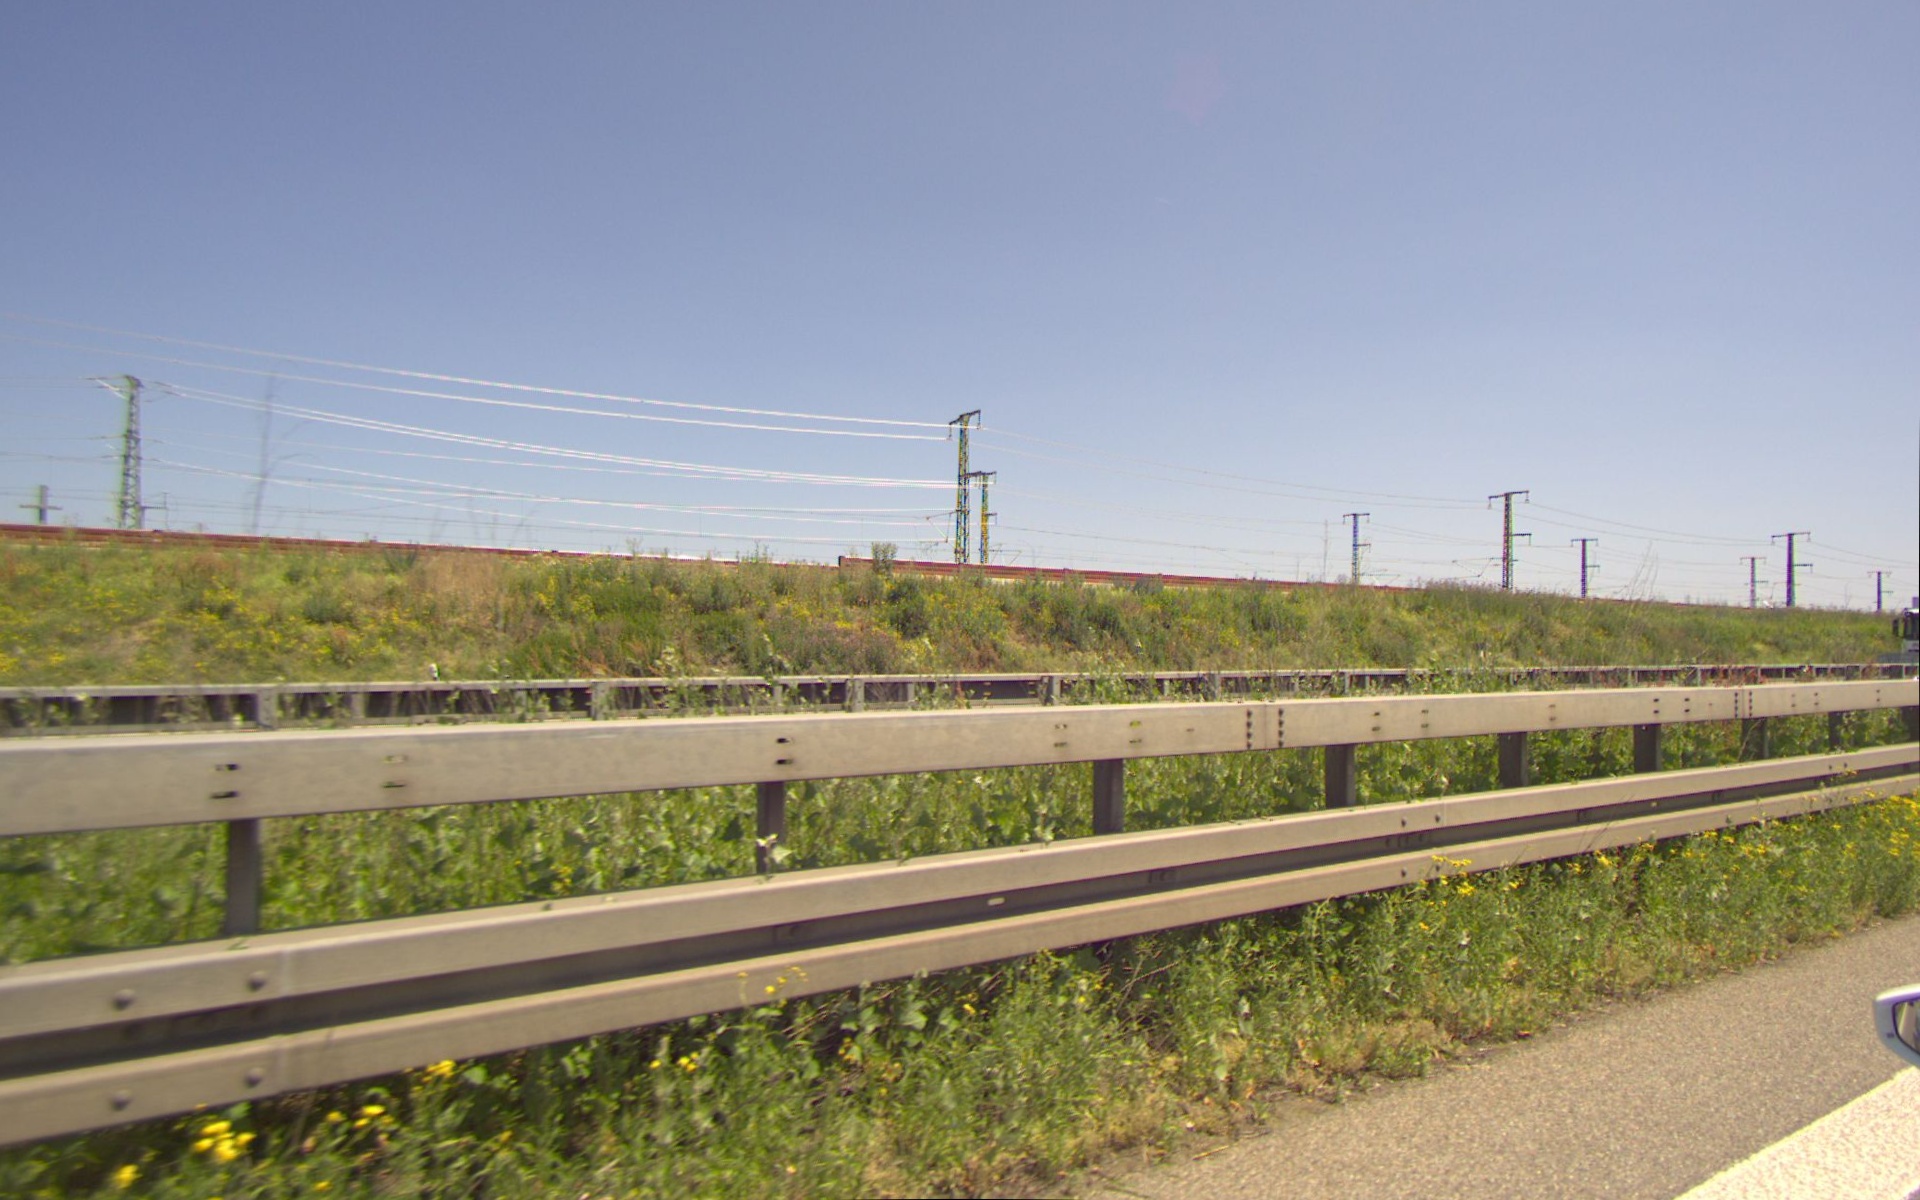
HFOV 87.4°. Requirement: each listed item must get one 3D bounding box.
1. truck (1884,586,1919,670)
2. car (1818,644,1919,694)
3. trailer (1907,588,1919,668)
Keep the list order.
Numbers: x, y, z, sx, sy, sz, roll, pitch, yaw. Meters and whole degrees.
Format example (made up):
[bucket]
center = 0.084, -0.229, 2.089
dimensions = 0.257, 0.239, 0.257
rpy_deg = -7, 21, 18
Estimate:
[truck]
center = 41.273, 1.218, 41.826
dimensions = 4.657, 3.433, 2.774
rpy_deg = 2, 0, -30
[car]
center = 27.231, 1.980, 29.432
dimensions = 4.155, 1.323, 1.984
rpy_deg = 2, -2, -31
[trailer]
center = 45.547, 1.341, 44.330
dimensions = 9.469, 3.433, 2.774
rpy_deg = 2, 0, -30
